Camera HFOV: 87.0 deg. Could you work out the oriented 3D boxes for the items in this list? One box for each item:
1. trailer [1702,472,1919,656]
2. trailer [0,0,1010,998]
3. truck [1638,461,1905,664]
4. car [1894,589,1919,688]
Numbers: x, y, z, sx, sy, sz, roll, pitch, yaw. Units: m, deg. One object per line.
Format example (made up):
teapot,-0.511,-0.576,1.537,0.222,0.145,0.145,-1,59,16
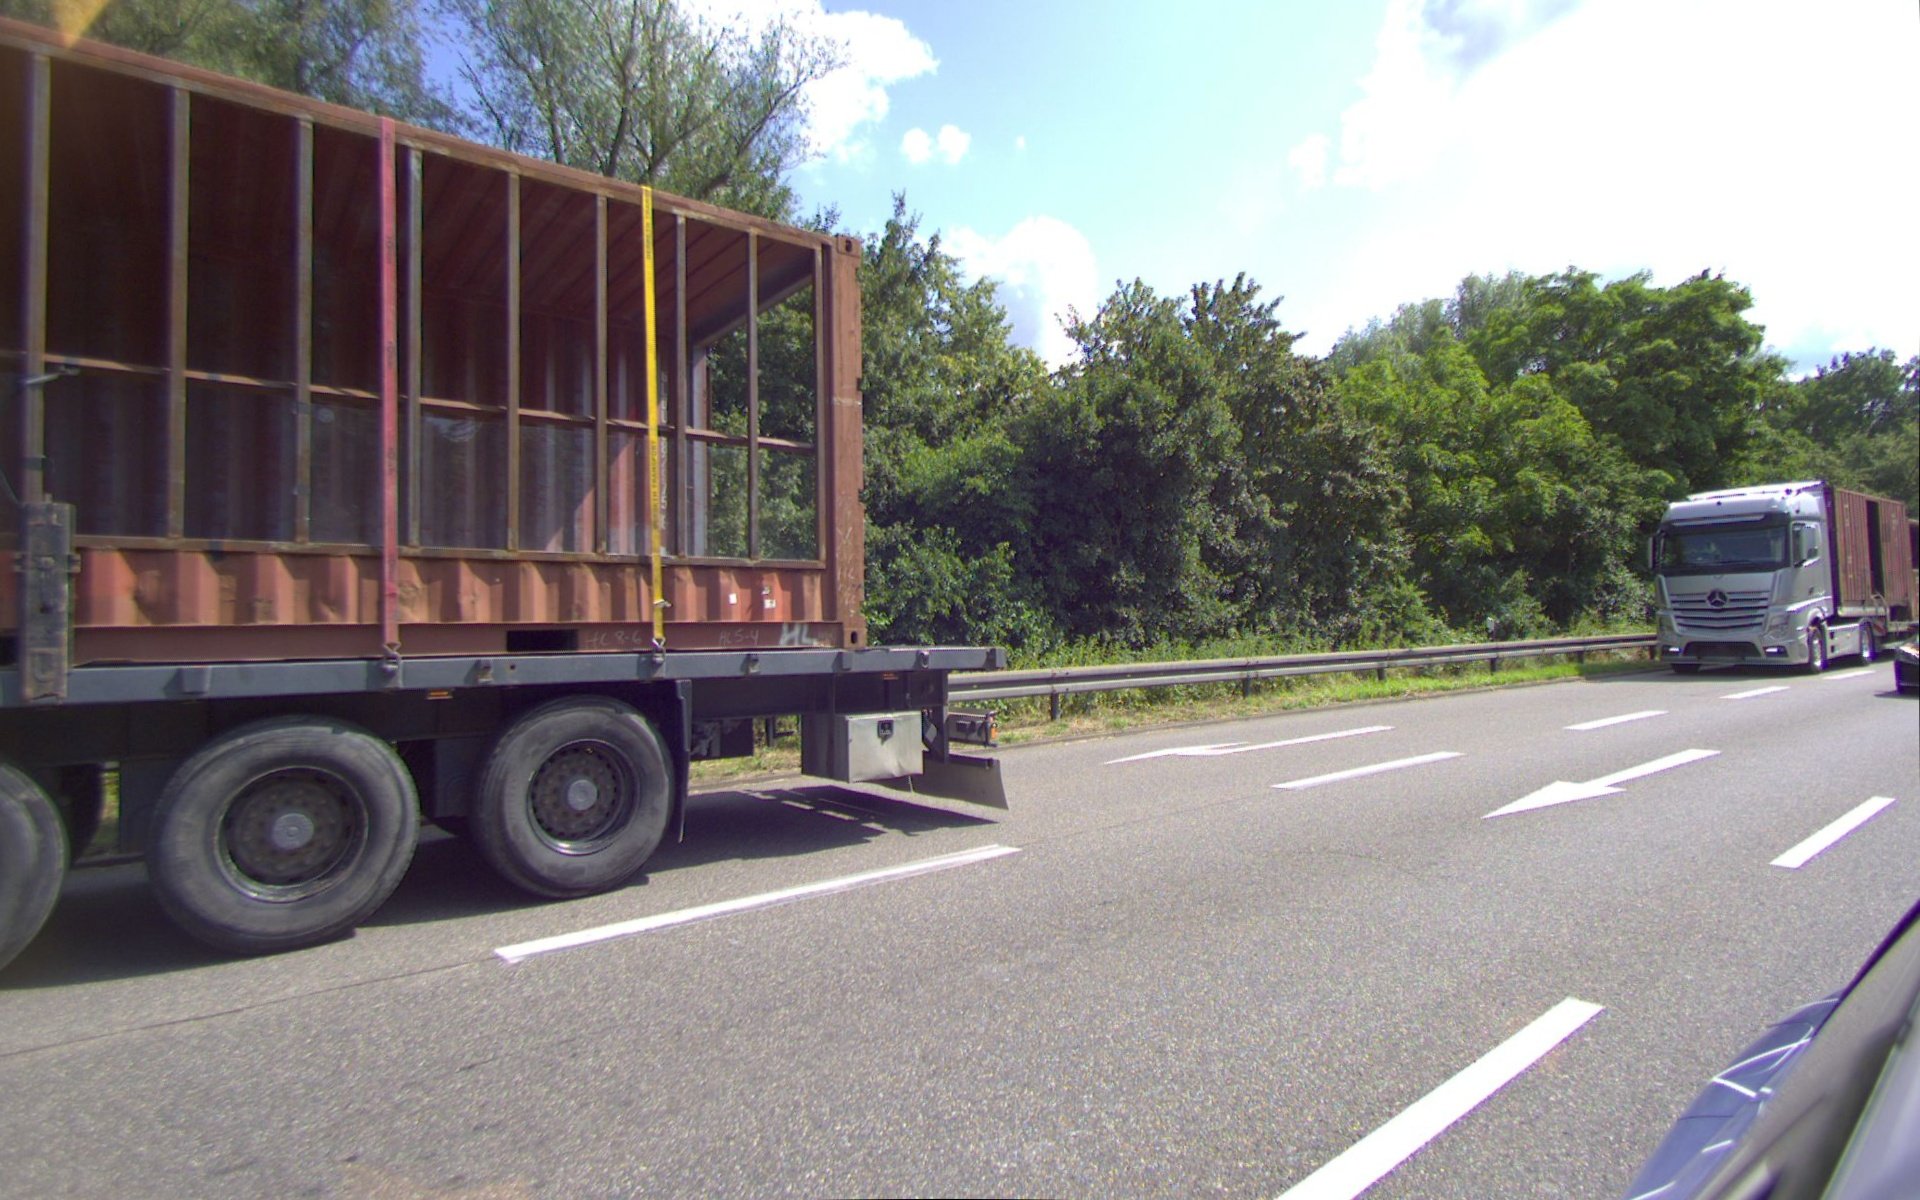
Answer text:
trailer,23.148,-0.737,26.102,12.088,3.900,2.779,0,-2,-36
trailer,-5.844,-0.386,3.918,13.596,3.942,2.644,0,-3,-38
truck,18.162,-0.680,22.530,6.690,3.895,2.777,0,-2,-35
car,16.285,0.552,15.670,4.286,1.454,1.796,0,-1,-35
